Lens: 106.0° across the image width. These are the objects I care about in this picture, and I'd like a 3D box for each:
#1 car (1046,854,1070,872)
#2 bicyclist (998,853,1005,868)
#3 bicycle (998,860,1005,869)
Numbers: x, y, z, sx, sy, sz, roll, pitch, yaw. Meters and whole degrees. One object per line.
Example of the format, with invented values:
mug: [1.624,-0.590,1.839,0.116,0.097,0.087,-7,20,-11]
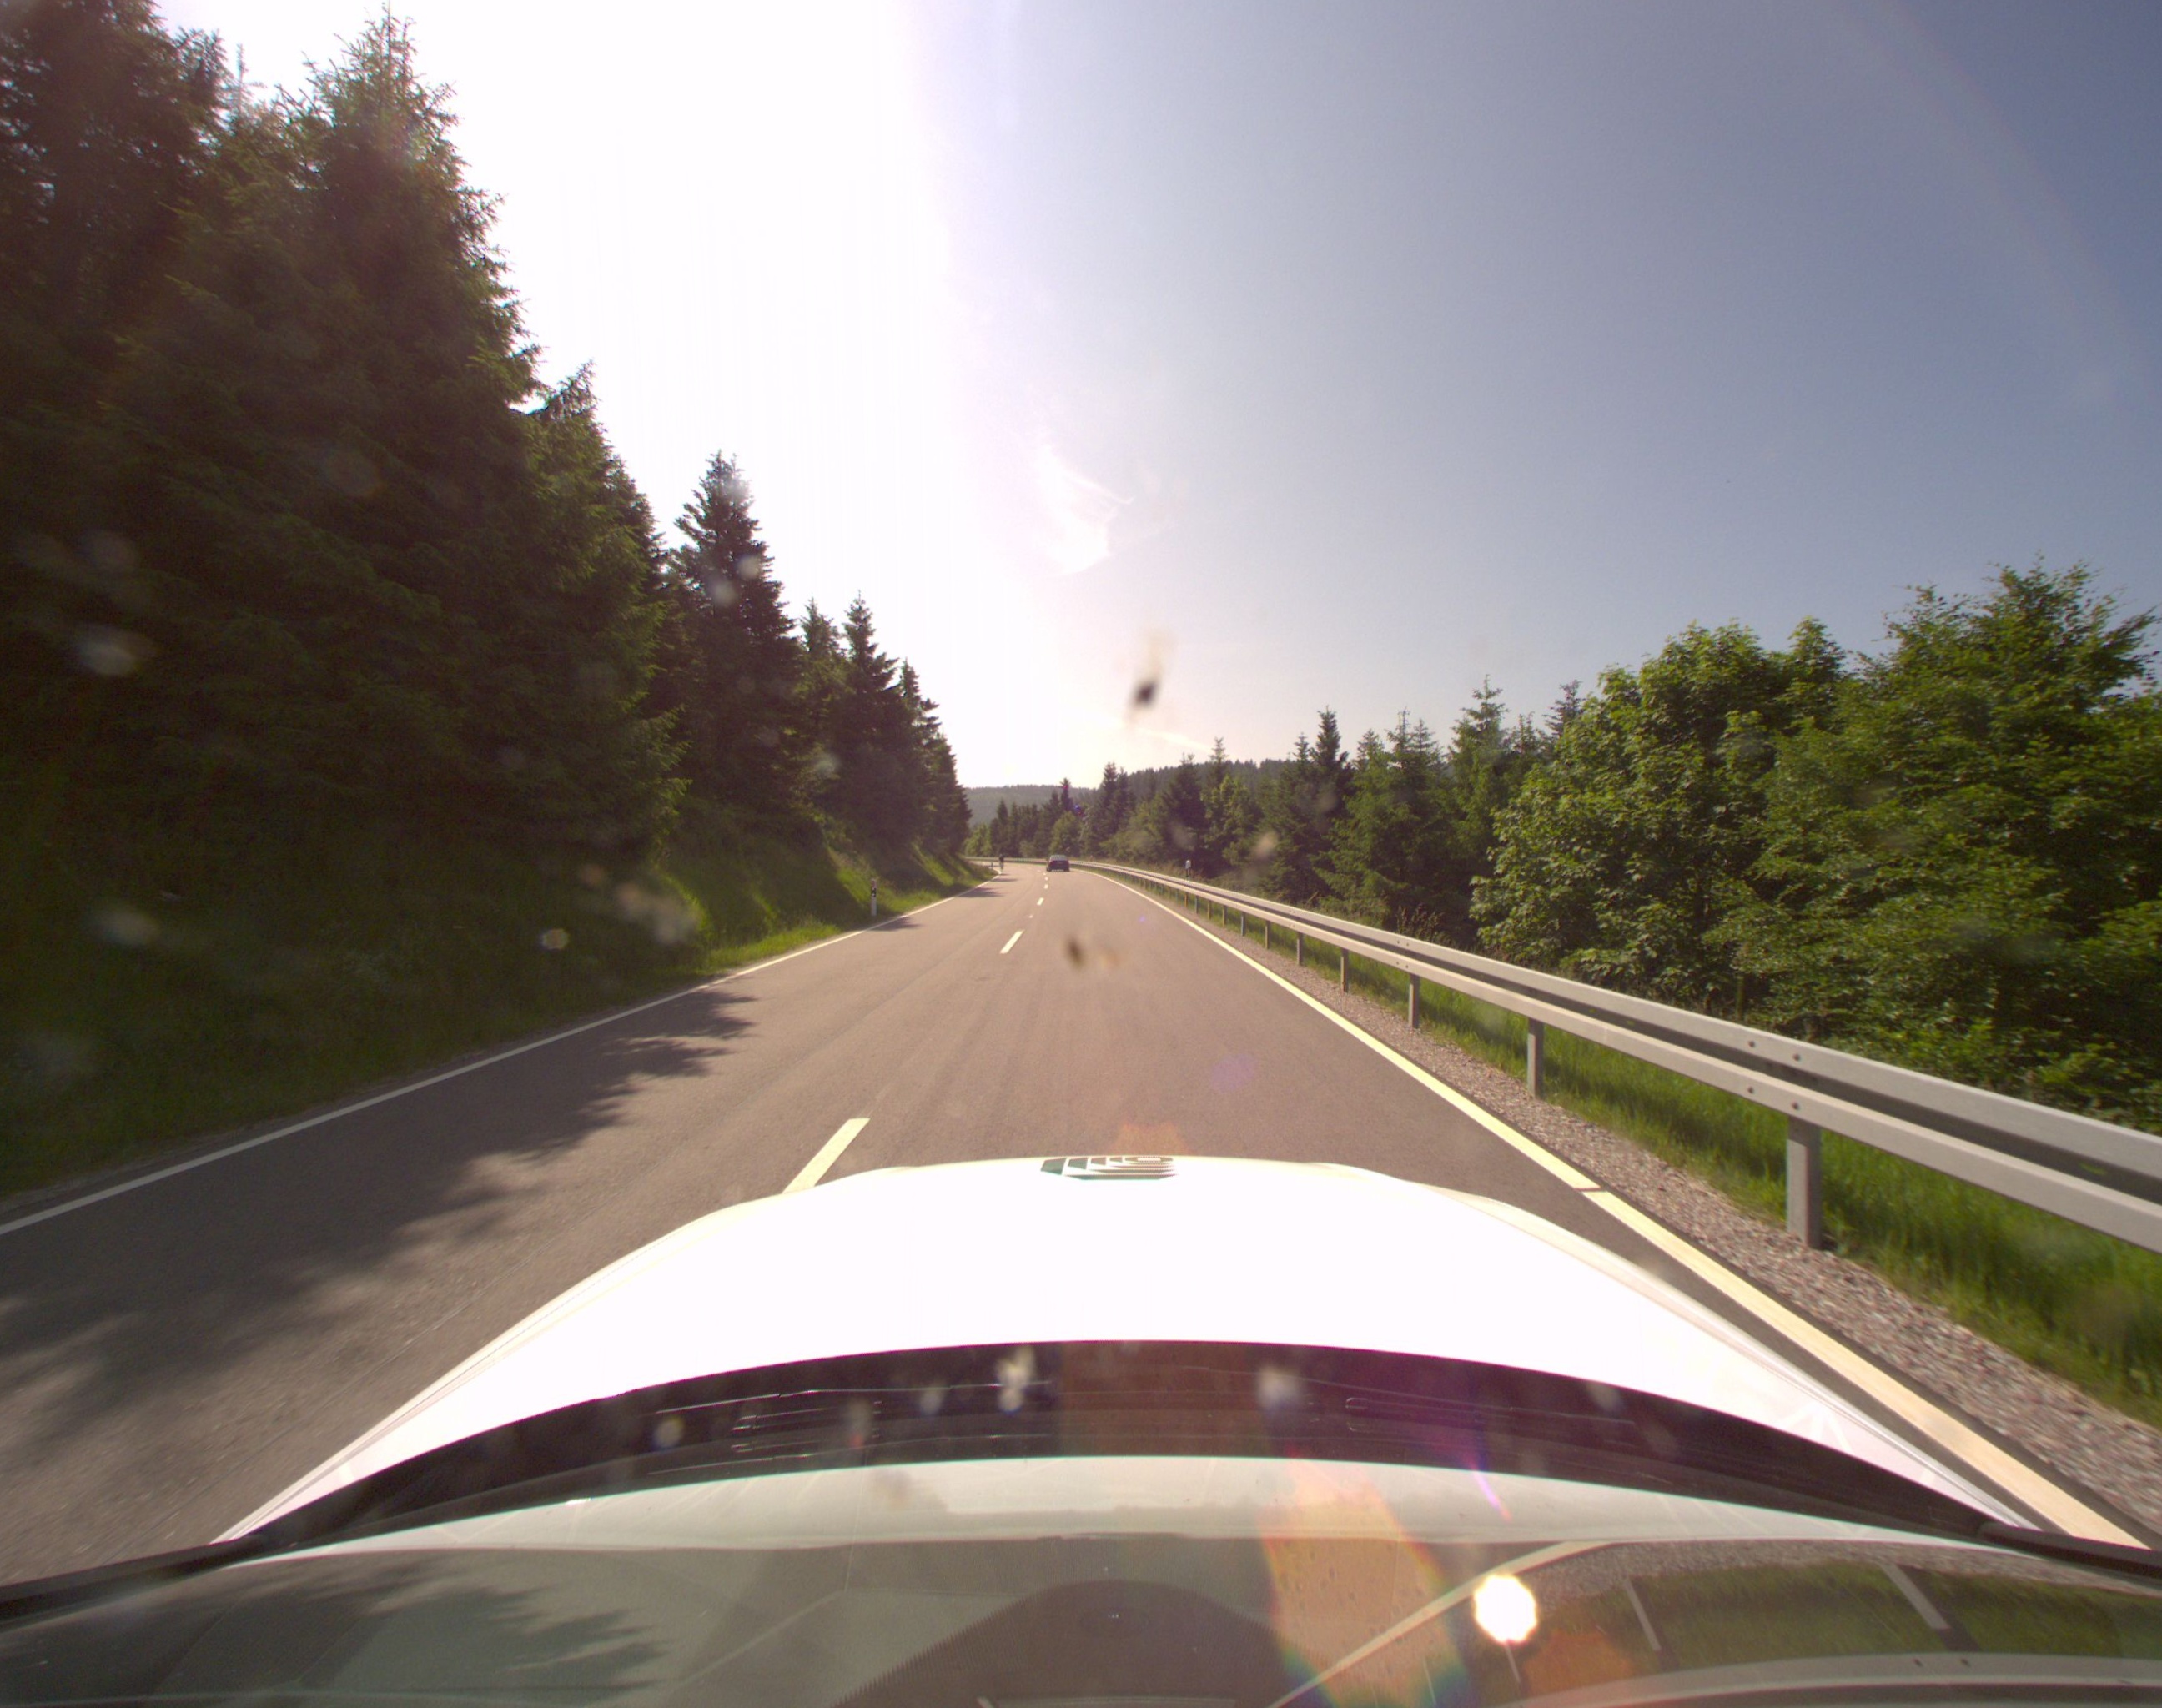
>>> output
car: [-2.008,0.757,70.057,1.773,1.442,3.702,-2,0,-5]
bicyclist: [-7.493,0.597,76.433,0.541,1.451,0.981,-2,0,-8]
bicycle: [-7.481,0.984,76.519,0.552,0.886,2.056,-2,0,-8]
